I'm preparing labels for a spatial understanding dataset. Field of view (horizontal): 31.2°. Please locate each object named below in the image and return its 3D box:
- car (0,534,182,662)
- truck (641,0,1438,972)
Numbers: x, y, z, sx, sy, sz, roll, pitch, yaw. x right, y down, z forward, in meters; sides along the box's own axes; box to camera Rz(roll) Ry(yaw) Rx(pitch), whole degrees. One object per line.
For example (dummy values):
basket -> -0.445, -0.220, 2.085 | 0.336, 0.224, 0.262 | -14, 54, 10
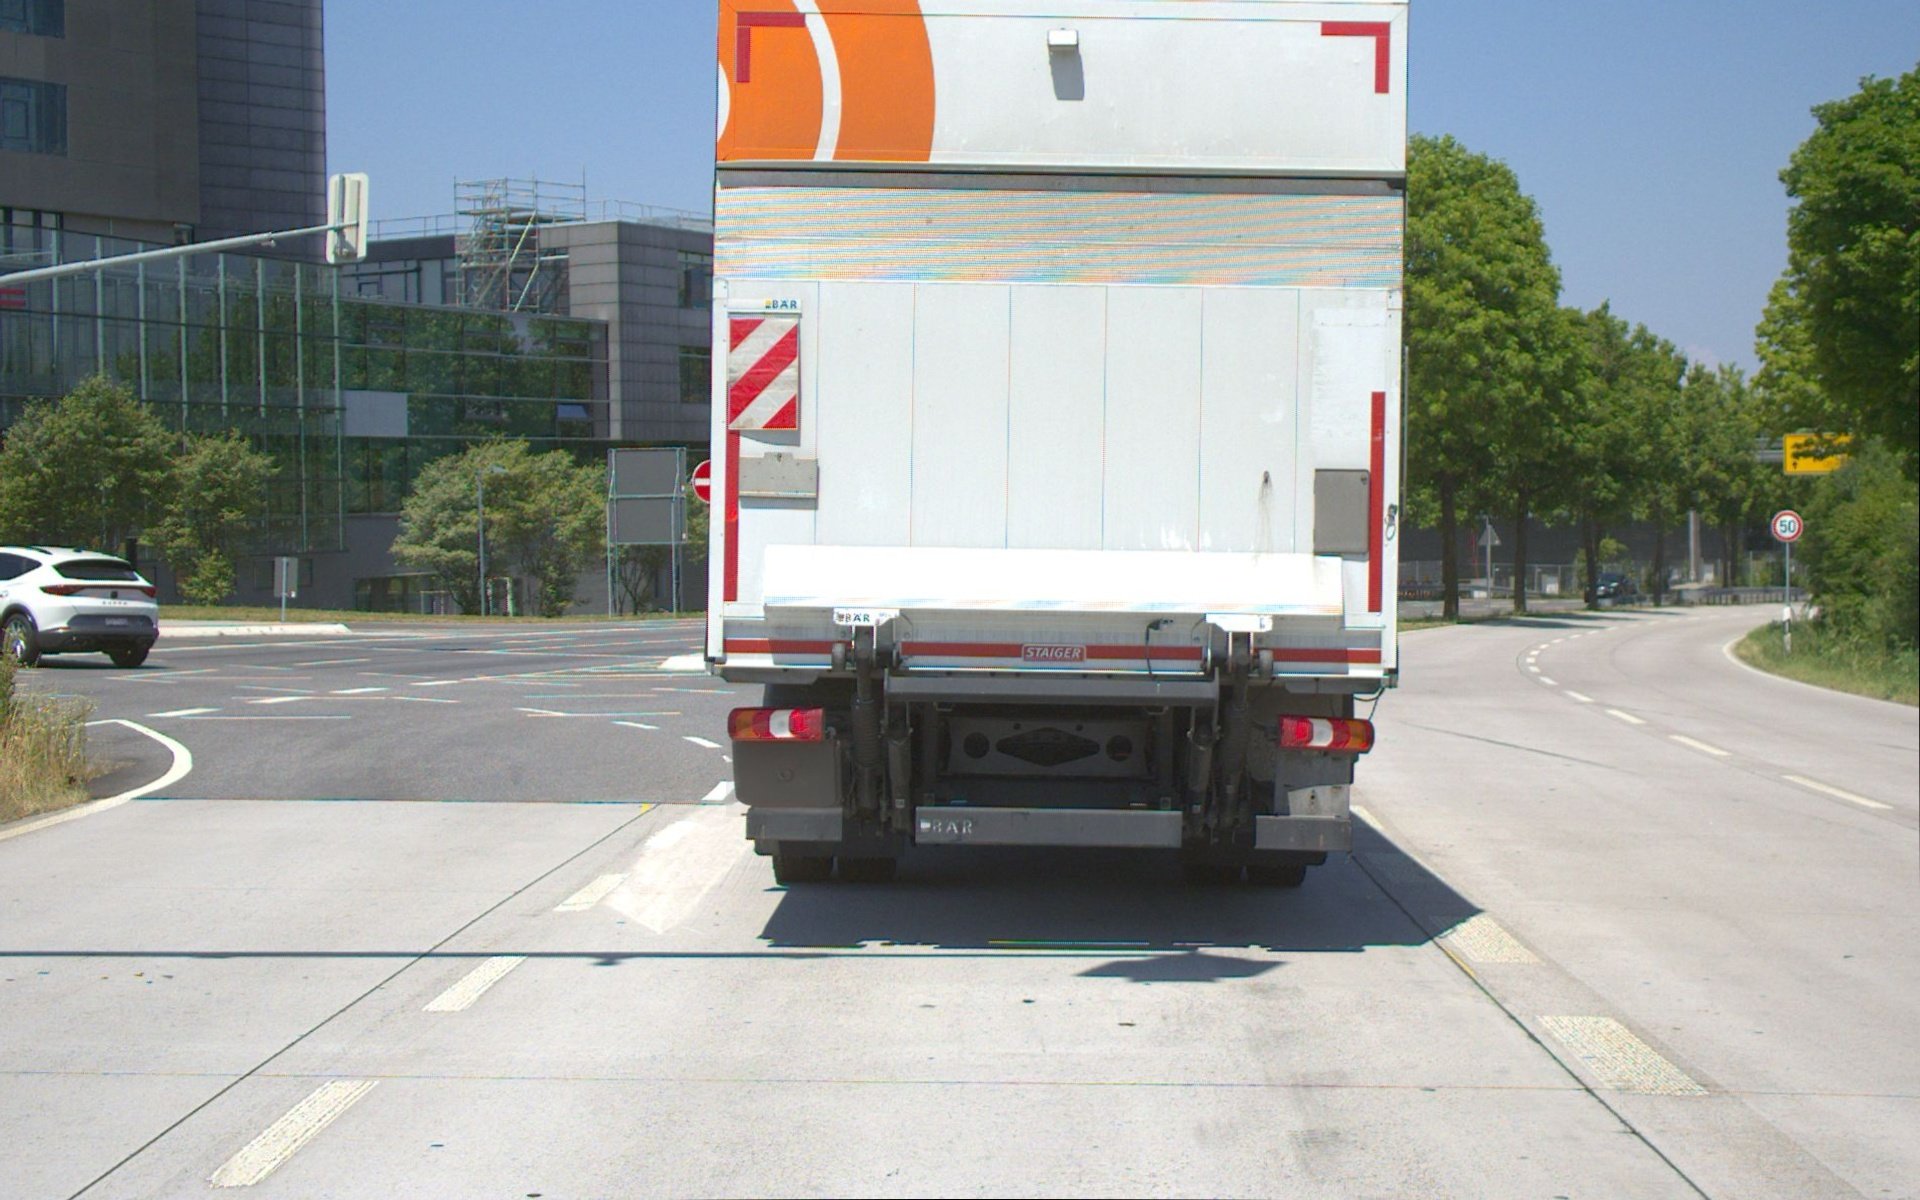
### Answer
car -> -11.903, -0.049, 43.910 | 3.997, 1.551, 1.804 | 1, 0, 41
truck -> 0.226, -0.659, 16.952 | 2.769, 3.846, 9.371 | 1, 0, -1
